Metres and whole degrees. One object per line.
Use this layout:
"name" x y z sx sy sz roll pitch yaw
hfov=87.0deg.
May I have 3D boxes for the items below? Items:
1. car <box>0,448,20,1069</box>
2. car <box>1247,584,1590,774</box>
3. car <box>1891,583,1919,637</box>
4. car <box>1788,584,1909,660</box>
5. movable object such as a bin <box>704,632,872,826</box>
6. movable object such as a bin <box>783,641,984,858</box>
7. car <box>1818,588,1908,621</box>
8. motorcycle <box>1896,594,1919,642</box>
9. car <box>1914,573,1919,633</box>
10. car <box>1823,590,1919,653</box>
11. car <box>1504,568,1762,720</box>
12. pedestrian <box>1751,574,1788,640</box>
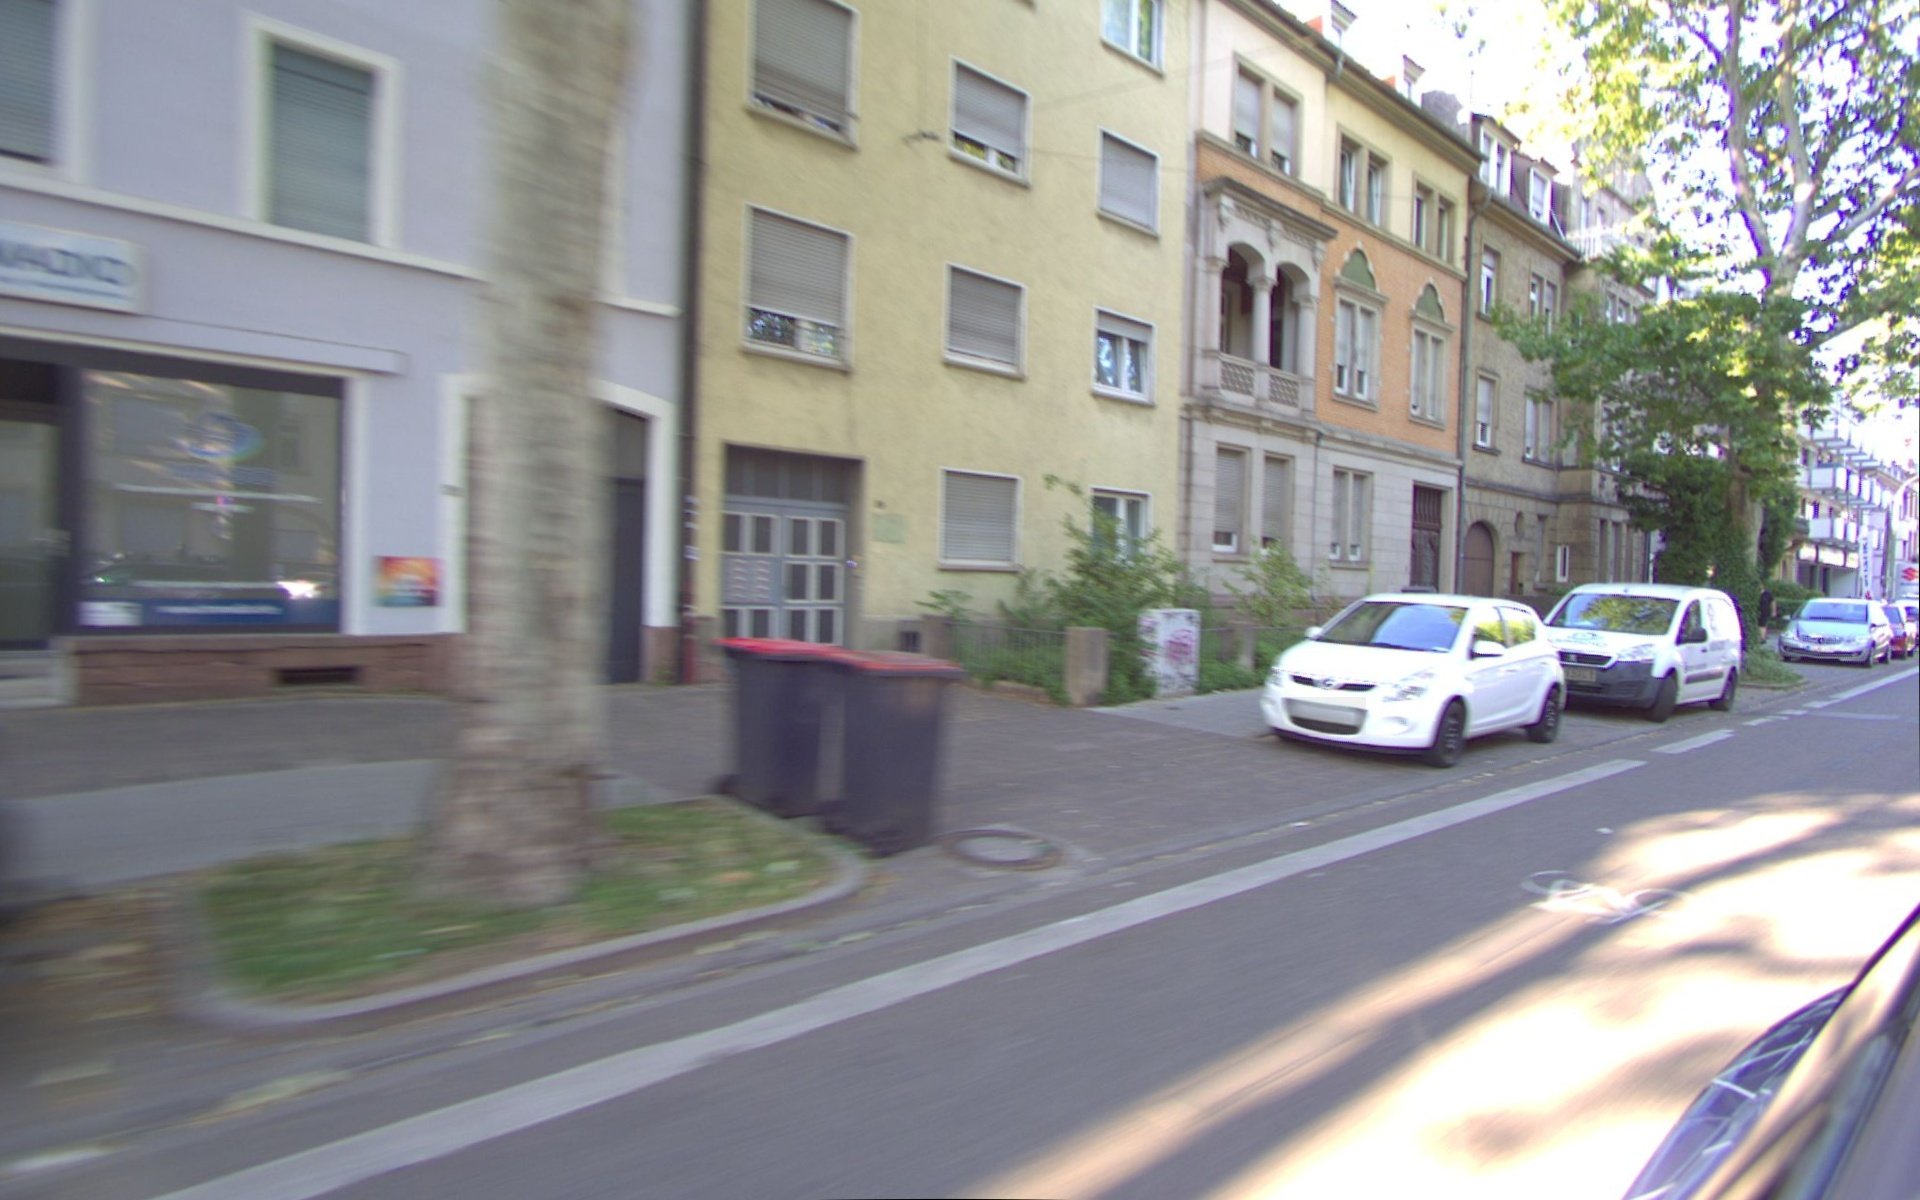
"car" -4.924 0.459 1.652 4.903 1.791 1.747 -1 2 -42
"car" 4.709 0.627 10.145 3.931 1.504 1.648 0 2 -42
"car" 35.256 0.336 36.522 4.676 1.852 1.997 -1 2 -42
"car" 22.105 0.477 25.139 3.785 1.711 1.748 -1 2 -41
"movable object such as a bin" -1.071 0.755 6.316 0.833 1.061 0.610 0 2 -41
"movable object such as a bin" -0.426 0.782 5.687 0.864 1.059 0.675 2 0 -41
"car" 47.446 0.211 53.217 1.418 1.565 3.422 -1 2 -43
"motorcycle" 29.529 0.562 31.069 0.822 1.415 2.348 4 3 36
"car" 39.560 0.098 40.211 5.146 2.285 1.997 -1 2 -42
"car" 26.061 0.537 28.631 3.912 1.579 1.997 -1 2 -42
"car" 9.415 0.467 14.040 4.315 1.791 1.749 -1 2 -39
"pedestrian" 24.602 0.190 30.768 0.800 1.961 0.712 0 1 -40
